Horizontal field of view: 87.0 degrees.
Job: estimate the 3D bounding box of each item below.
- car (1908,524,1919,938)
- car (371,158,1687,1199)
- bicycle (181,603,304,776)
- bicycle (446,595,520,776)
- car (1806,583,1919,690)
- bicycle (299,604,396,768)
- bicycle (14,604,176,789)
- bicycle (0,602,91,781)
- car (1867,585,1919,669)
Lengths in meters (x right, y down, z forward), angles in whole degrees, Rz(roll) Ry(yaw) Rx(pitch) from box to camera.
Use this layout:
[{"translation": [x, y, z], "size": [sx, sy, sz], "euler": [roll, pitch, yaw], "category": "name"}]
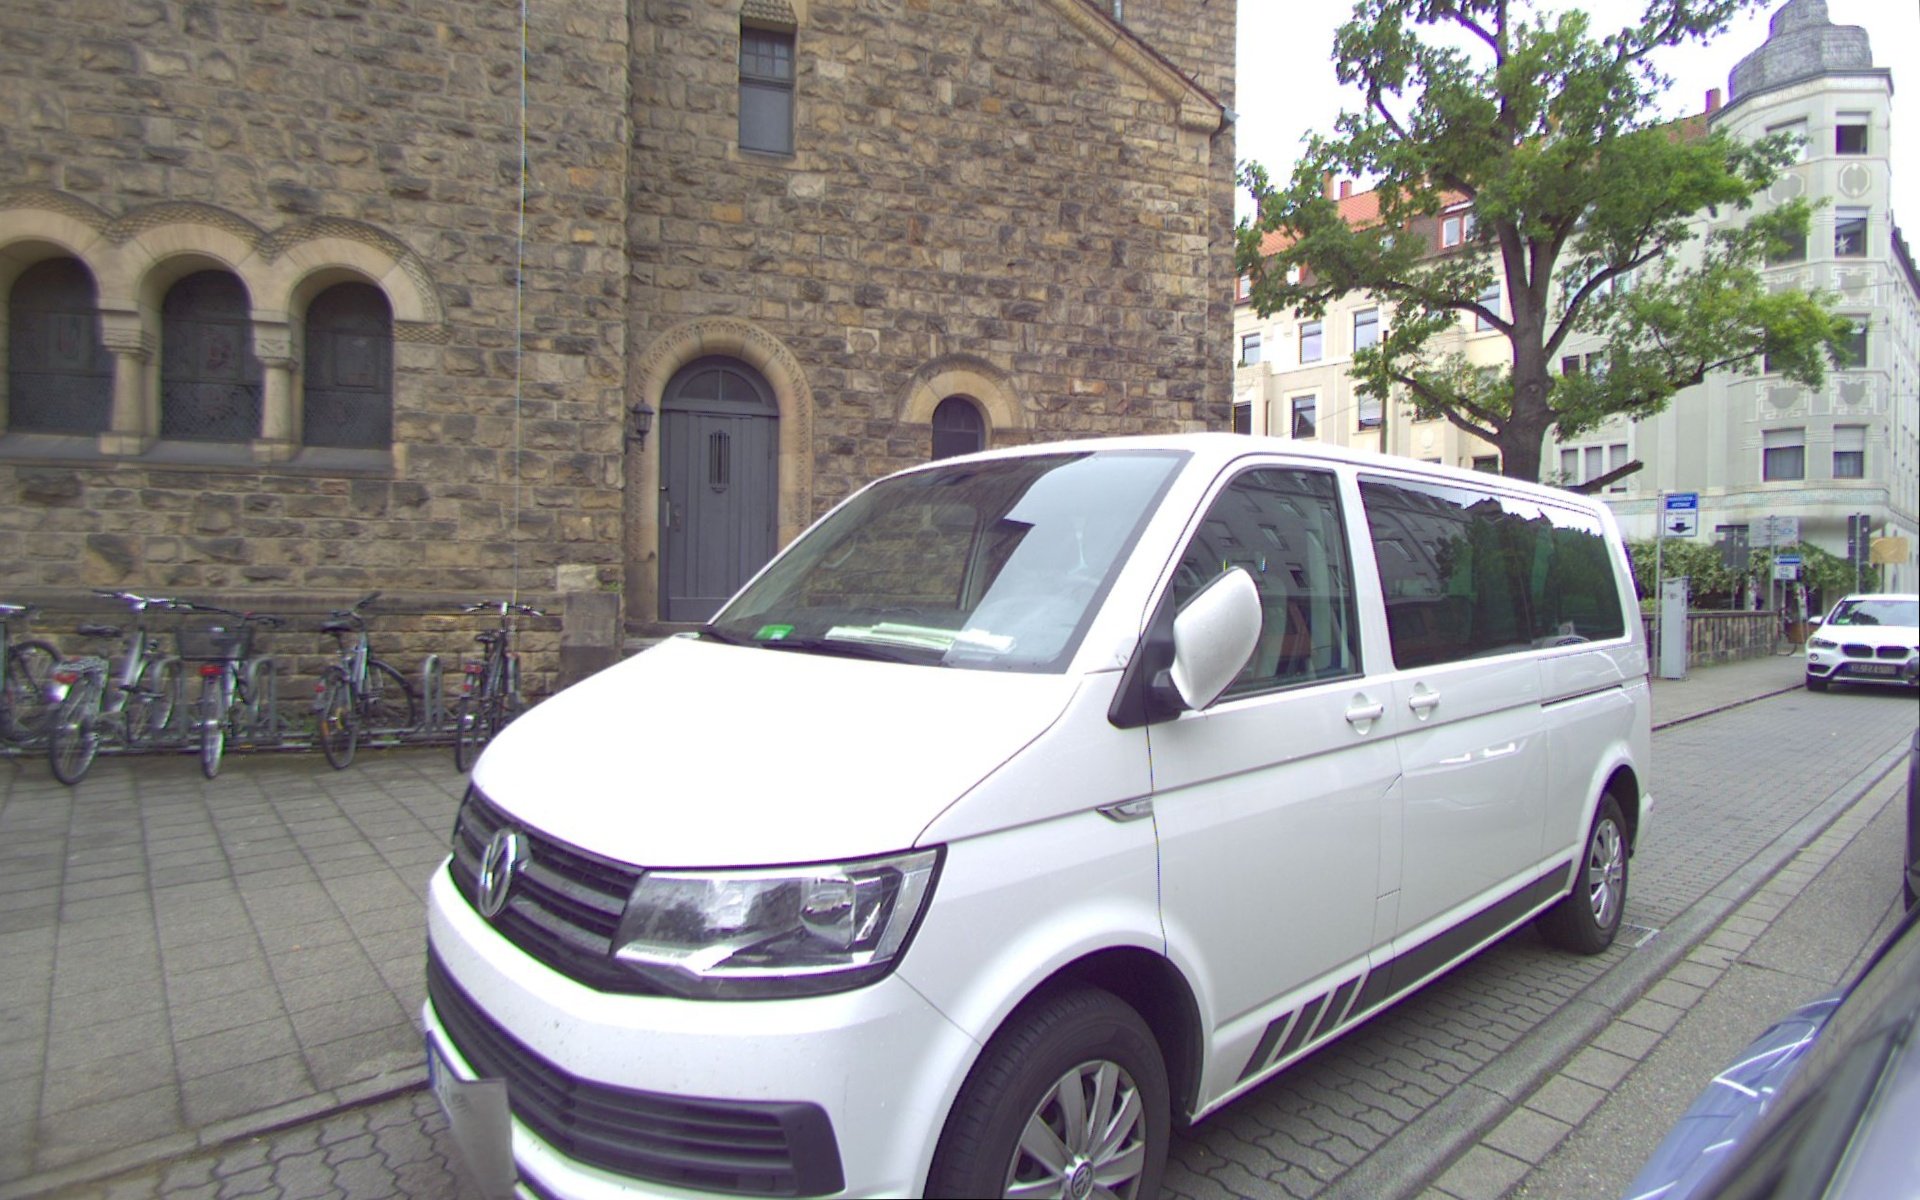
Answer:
[{"translation": [6.003, 0.555, 4.788], "size": [3.930, 1.706, 1.818], "euler": [0, 0, -41], "category": "car"}, {"translation": [0.925, 0.384, 3.709], "size": [5.075, 1.944, 1.807], "euler": [0, 0, -42], "category": "car"}, {"translation": [-4.987, 0.568, 7.097], "size": [0.304, 1.073, 1.386], "euler": [1, 0, -18], "category": "bicycle"}, {"translation": [-3.379, 0.549, 7.219], "size": [0.304, 1.161, 1.346], "euler": [1, 0, -18], "category": "bicycle"}, {"translation": [15.401, 0.535, 16.531], "size": [3.930, 1.585, 1.818], "euler": [0, 1, -41], "category": "car"}, {"translation": [-4.464, 0.577, 7.427], "size": [0.304, 1.073, 1.346], "euler": [1, 0, -18], "category": "bicycle"}, {"translation": [-5.684, 0.575, 6.715], "size": [0.304, 1.073, 1.386], "euler": [1, 0, -18], "category": "bicycle"}, {"translation": [-6.111, 0.562, 6.488], "size": [0.304, 1.073, 1.386], "euler": [1, 0, -18], "category": "bicycle"}, {"translation": [19.835, 0.516, 20.418], "size": [3.930, 1.585, 1.818], "euler": [0, 1, -41], "category": "car"}]
